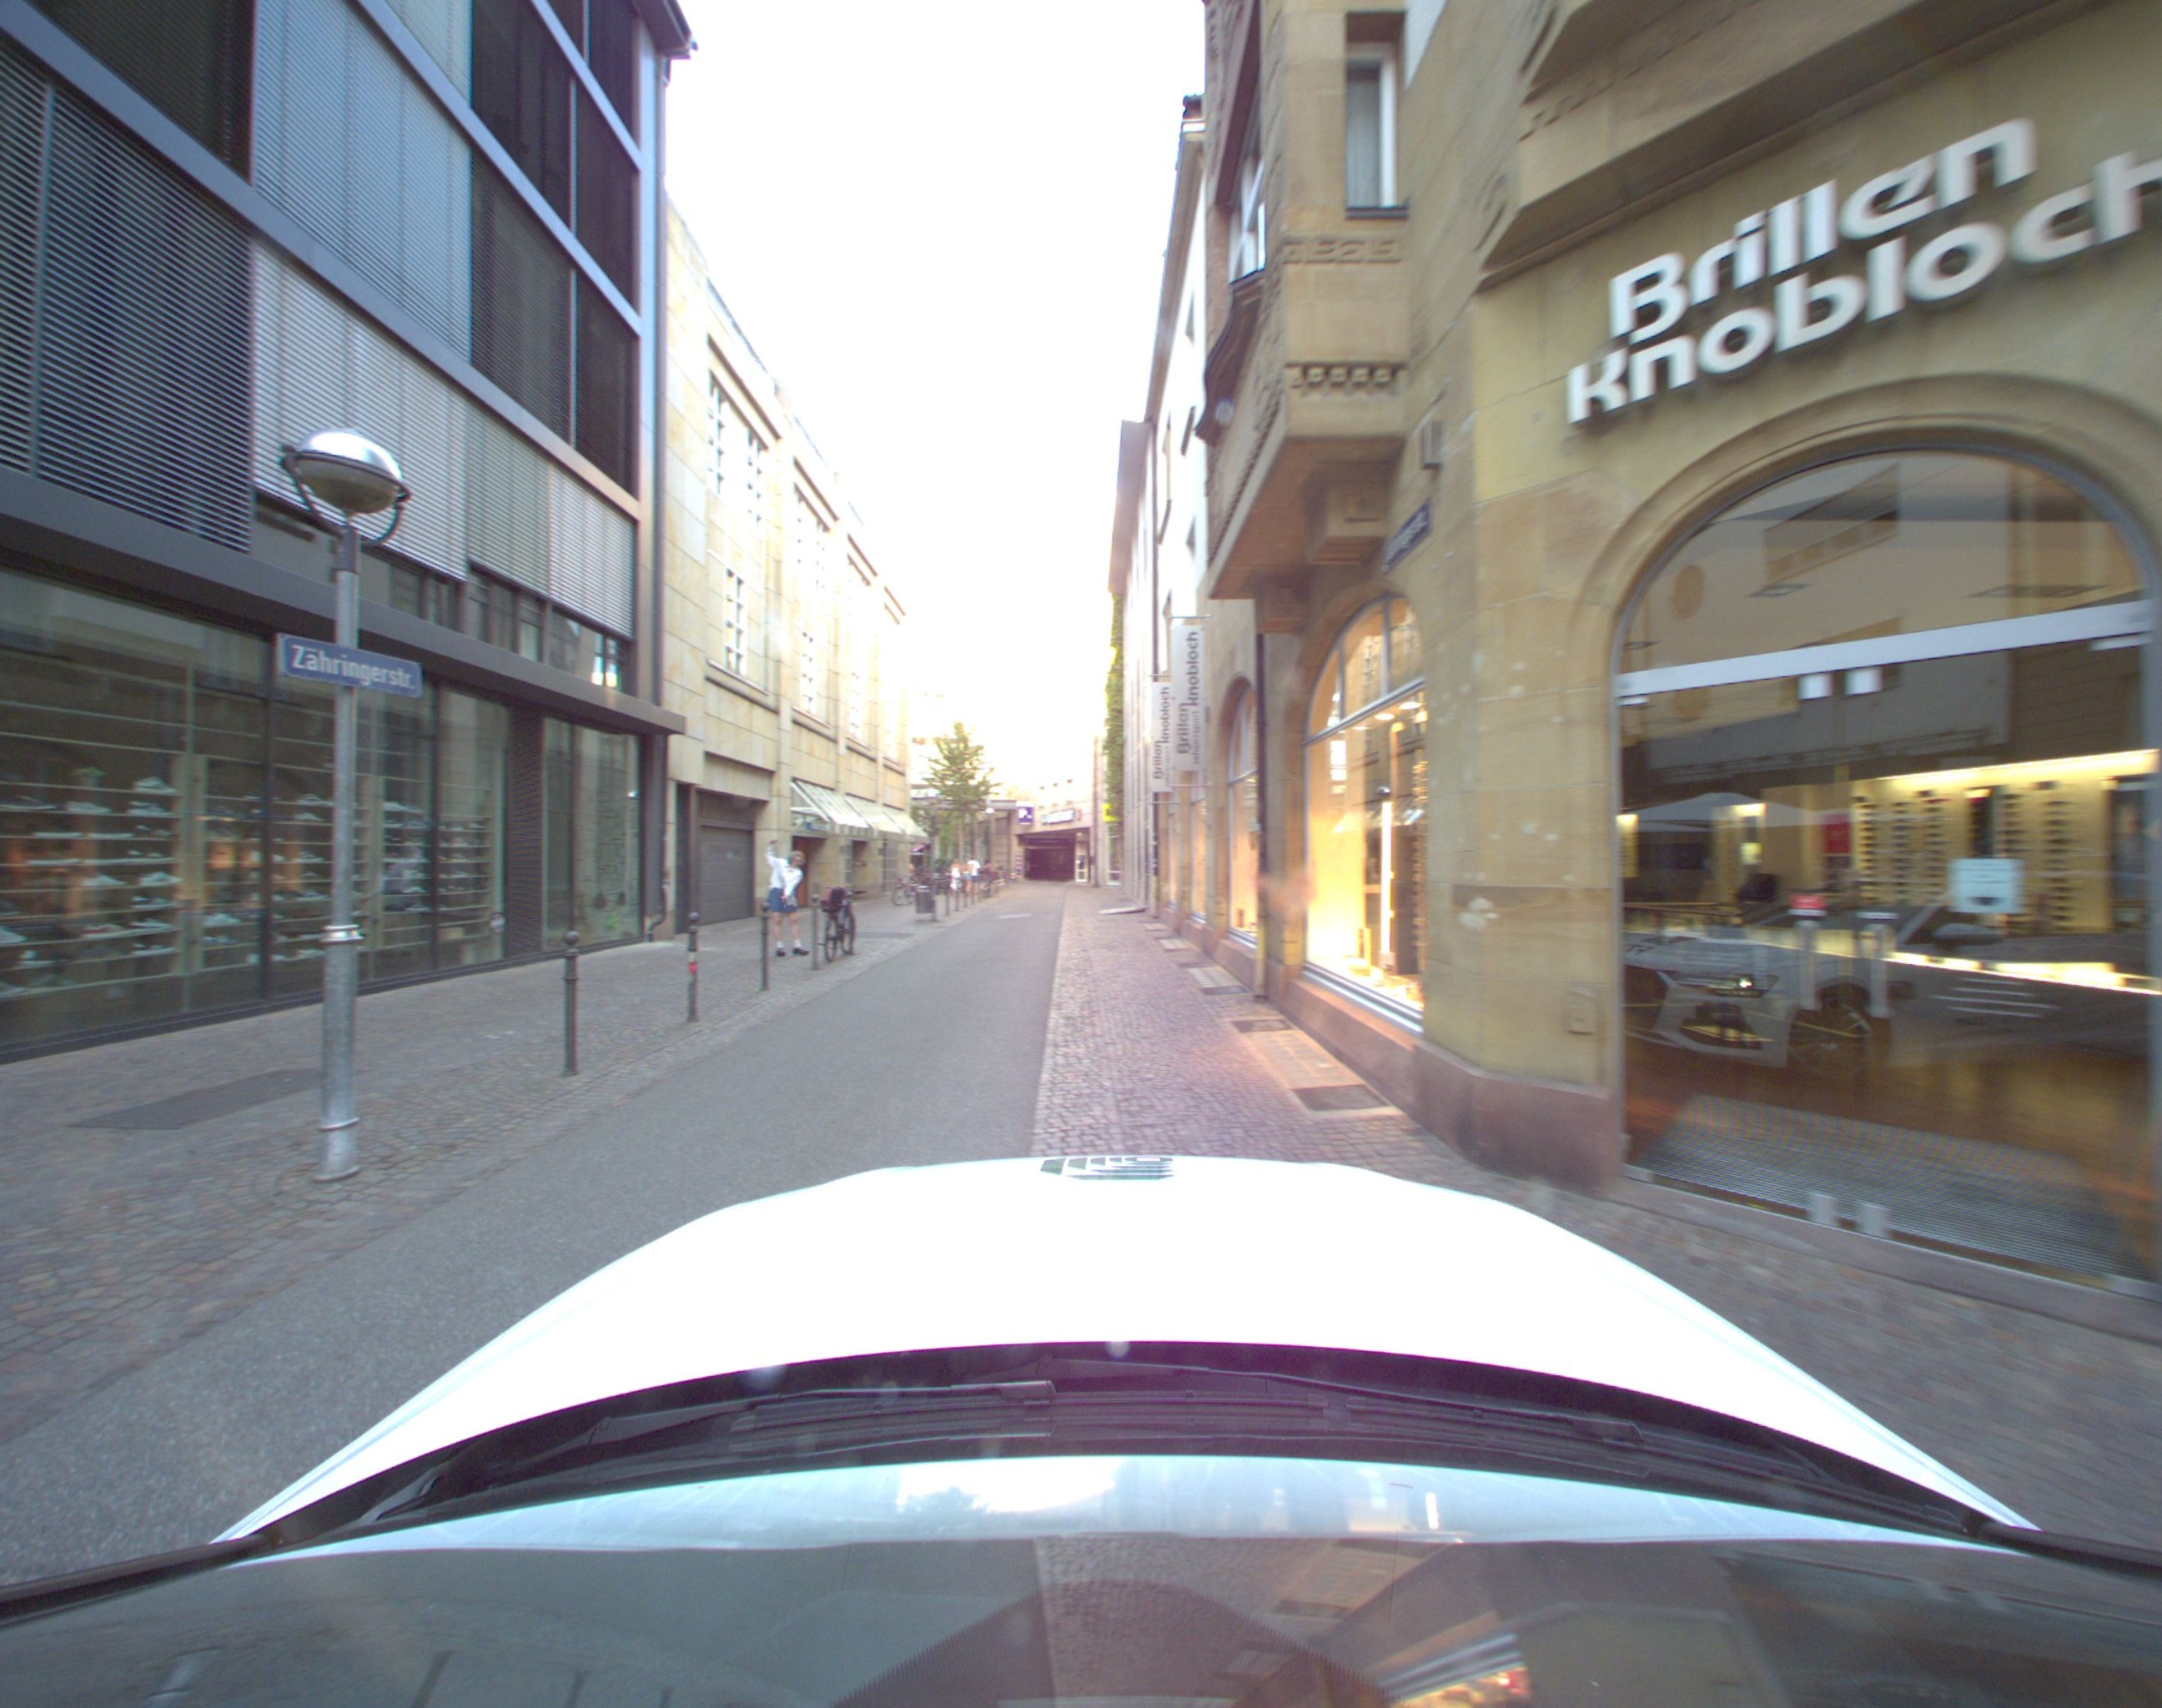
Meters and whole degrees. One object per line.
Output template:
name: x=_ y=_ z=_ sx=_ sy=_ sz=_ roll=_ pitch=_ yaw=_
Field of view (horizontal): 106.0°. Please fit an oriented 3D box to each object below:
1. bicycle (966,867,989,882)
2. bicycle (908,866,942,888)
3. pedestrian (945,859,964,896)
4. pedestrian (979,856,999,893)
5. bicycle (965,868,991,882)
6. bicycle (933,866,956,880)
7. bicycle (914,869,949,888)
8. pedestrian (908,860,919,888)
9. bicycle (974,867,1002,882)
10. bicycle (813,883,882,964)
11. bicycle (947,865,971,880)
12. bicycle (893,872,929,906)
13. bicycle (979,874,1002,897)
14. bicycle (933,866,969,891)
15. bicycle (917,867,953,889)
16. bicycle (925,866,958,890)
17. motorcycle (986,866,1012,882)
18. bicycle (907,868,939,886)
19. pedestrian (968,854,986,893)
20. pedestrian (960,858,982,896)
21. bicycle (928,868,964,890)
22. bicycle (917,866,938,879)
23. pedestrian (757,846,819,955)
bicycle: x=-7.416 y=1.459 z=58.255 sx=1.545 sy=1.049 sz=0.571 roll=-1 pitch=-1 yaw=-22
bicycle: x=-9.014 y=1.311 z=46.947 sx=1.842 sy=1.225 sz=0.530 roll=-1 pitch=-1 yaw=-24
pedestrian: x=-5.822 y=1.067 z=37.527 sx=0.671 sy=1.664 sz=0.862 roll=0 pitch=-1 yaw=6
pedestrian: x=-4.565 y=0.997 z=40.463 sx=0.781 sy=1.795 sz=0.974 roll=-1 pitch=0 yaw=7
bicycle: x=-7.251 y=1.476 z=57.310 sx=1.780 sy=0.904 sz=0.460 roll=-1 pitch=-1 yaw=-22
bicycle: x=-11.238 y=1.569 z=67.239 sx=1.780 sy=1.114 sz=0.539 roll=-1 pitch=-1 yaw=-22
bicycle: x=-8.482 y=1.381 z=46.289 sx=1.903 sy=1.052 sz=0.530 roll=-1 pitch=-1 yaw=-24
pedestrian: x=-8.778 y=1.059 z=42.665 sx=0.477 sy=1.471 sz=0.411 roll=0 pitch=-1 yaw=-23
bicycle: x=-6.439 y=1.444 z=56.485 sx=1.855 sy=0.982 sz=0.460 roll=-1 pitch=-1 yaw=-22
bicycle: x=-3.770 y=1.085 z=13.297 sx=0.531 sy=1.154 sz=1.914 roll=1 pitch=0 yaw=0
bicycle: x=-9.754 y=1.453 z=65.033 sx=1.780 sy=1.114 sz=0.539 roll=-1 pitch=-1 yaw=-22
bicycle: x=-6.124 y=1.247 z=29.455 sx=0.517 sy=1.138 sz=1.771 roll=-1 pitch=-1 yaw=15
bicycle: x=-4.033 y=1.399 z=36.334 sx=0.489 sy=0.939 sz=1.665 roll=0 pitch=0 yaw=14
bicycle: x=-6.806 y=1.290 z=42.691 sx=1.774 sy=1.231 sz=0.530 roll=-1 pitch=-1 yaw=-24
bicycle: x=-8.193 y=1.339 z=45.769 sx=1.881 sy=1.177 sz=0.530 roll=-1 pitch=-1 yaw=-24
bicycle: x=-7.546 y=1.288 z=43.945 sx=1.661 sy=1.231 sz=0.530 roll=-1 pitch=-1 yaw=-24
motorcycle: x=-5.540 y=1.343 z=54.890 sx=1.669 sy=1.050 sz=0.460 roll=-1 pitch=-1 yaw=-22
bicycle: x=-9.839 y=1.433 z=50.703 sx=1.885 sy=1.043 sz=0.530 roll=-1 pitch=-1 yaw=-24
pedestrian: x=-4.959 y=0.904 z=38.860 sx=0.740 sy=1.822 sz=0.877 roll=-1 pitch=-1 yaw=-3
pedestrian: x=-5.032 y=1.032 z=37.407 sx=0.802 sy=1.729 sz=0.950 roll=0 pitch=-1 yaw=4
bicycle: x=-7.446 y=1.376 z=44.839 sx=1.845 sy=1.122 sz=0.530 roll=-1 pitch=-1 yaw=-24
bicycle: x=-13.711 y=1.617 z=72.934 sx=1.779 sy=1.114 sz=0.539 roll=-1 pitch=-1 yaw=-19
pedestrian: x=-4.759 y=0.746 z=13.273 sx=0.766 sy=1.718 sz=0.591 roll=1 pitch=-1 yaw=-2
